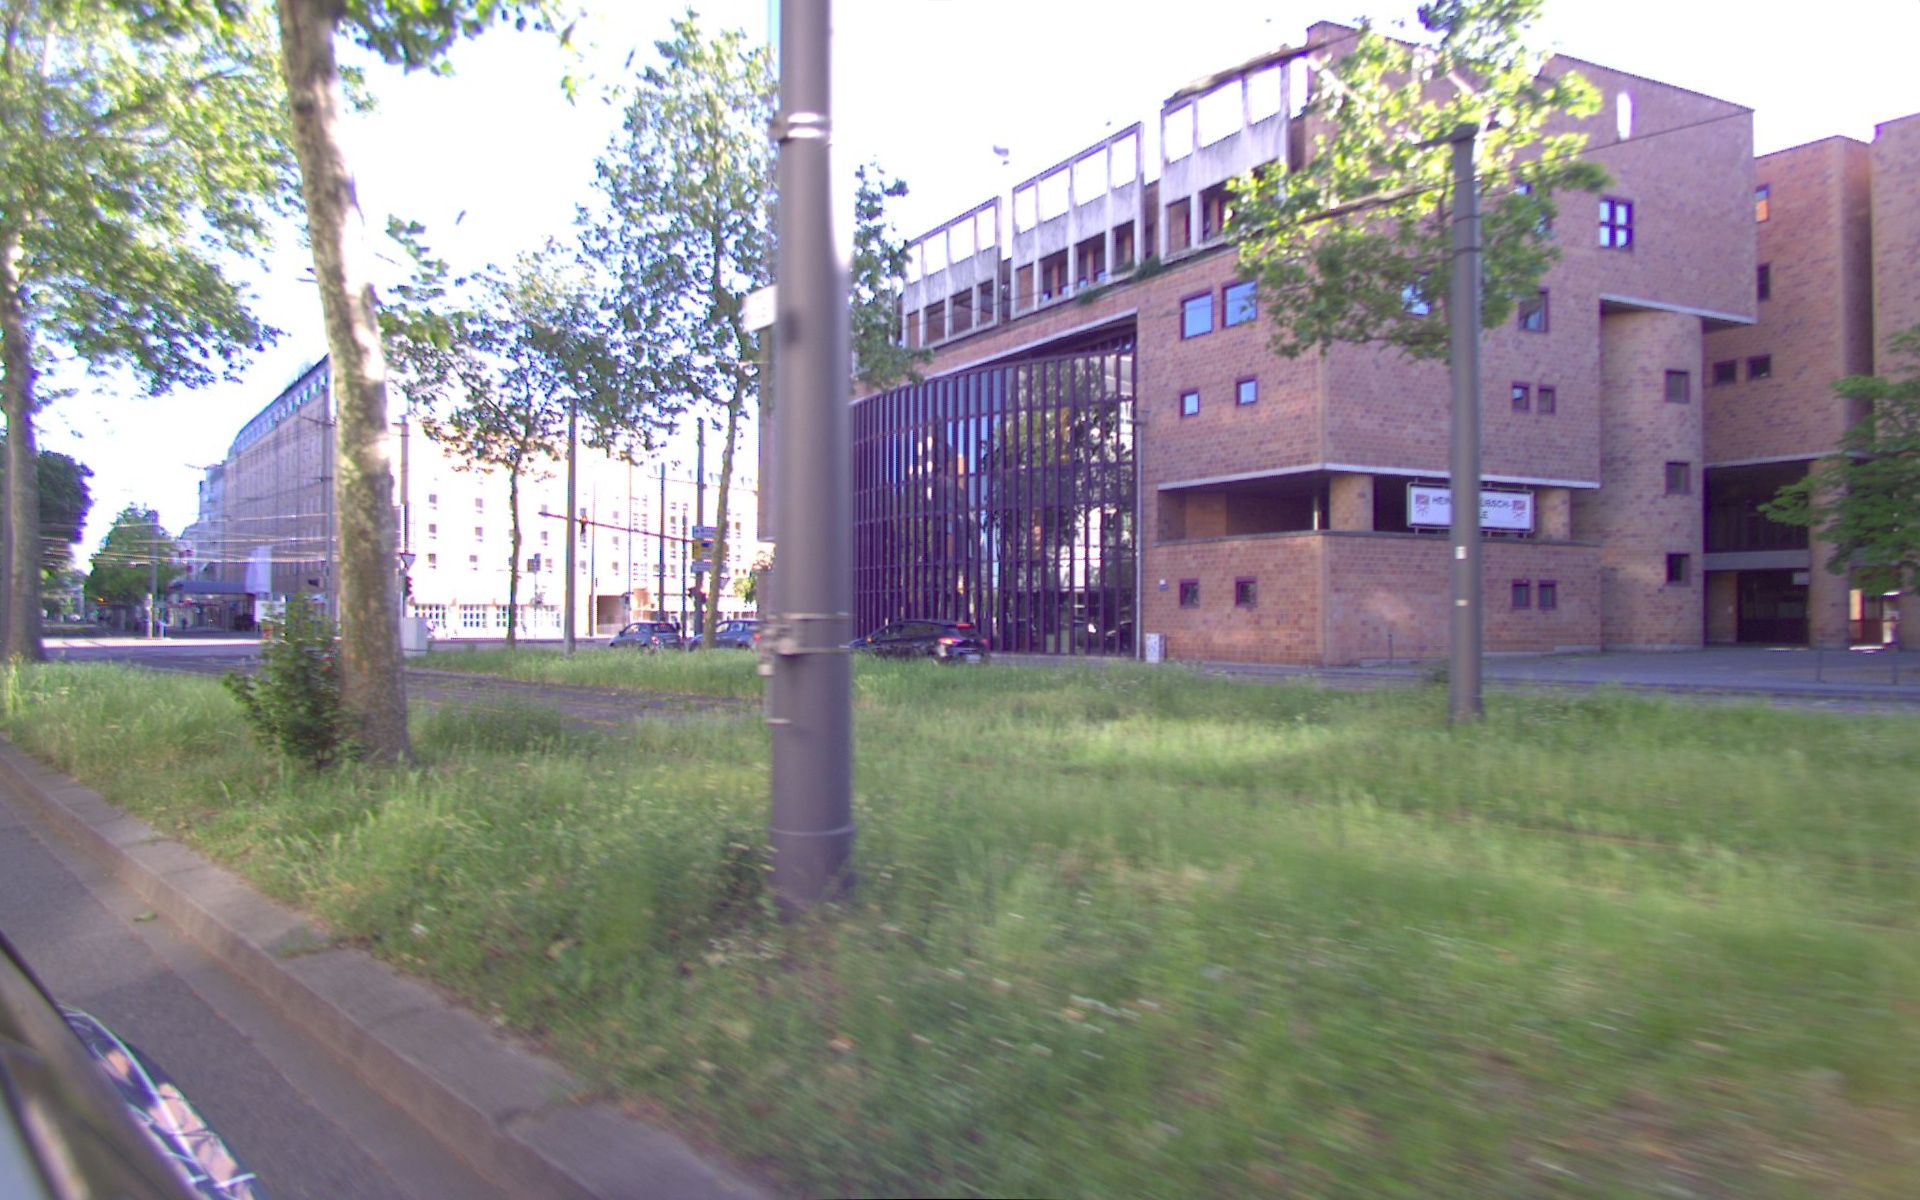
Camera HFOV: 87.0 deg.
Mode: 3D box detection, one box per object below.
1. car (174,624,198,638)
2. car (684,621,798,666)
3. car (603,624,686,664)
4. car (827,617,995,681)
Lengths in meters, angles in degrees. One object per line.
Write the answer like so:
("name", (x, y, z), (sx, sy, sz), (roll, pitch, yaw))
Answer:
("car", (-90.781, 3.626, 118.671), (1.680, 1.663, 4.002), (1, -2, -45))
("car", (-7.456, 1.448, 34.259), (4.147, 1.440, 1.653), (-2, -2, 41))
("car", (-12.087, 1.662, 38.673), (3.220, 1.440, 1.596), (-2, -2, 41))
("car", (-1.252, 1.146, 24.542), (4.147, 1.440, 1.596), (-2, -2, 41))
